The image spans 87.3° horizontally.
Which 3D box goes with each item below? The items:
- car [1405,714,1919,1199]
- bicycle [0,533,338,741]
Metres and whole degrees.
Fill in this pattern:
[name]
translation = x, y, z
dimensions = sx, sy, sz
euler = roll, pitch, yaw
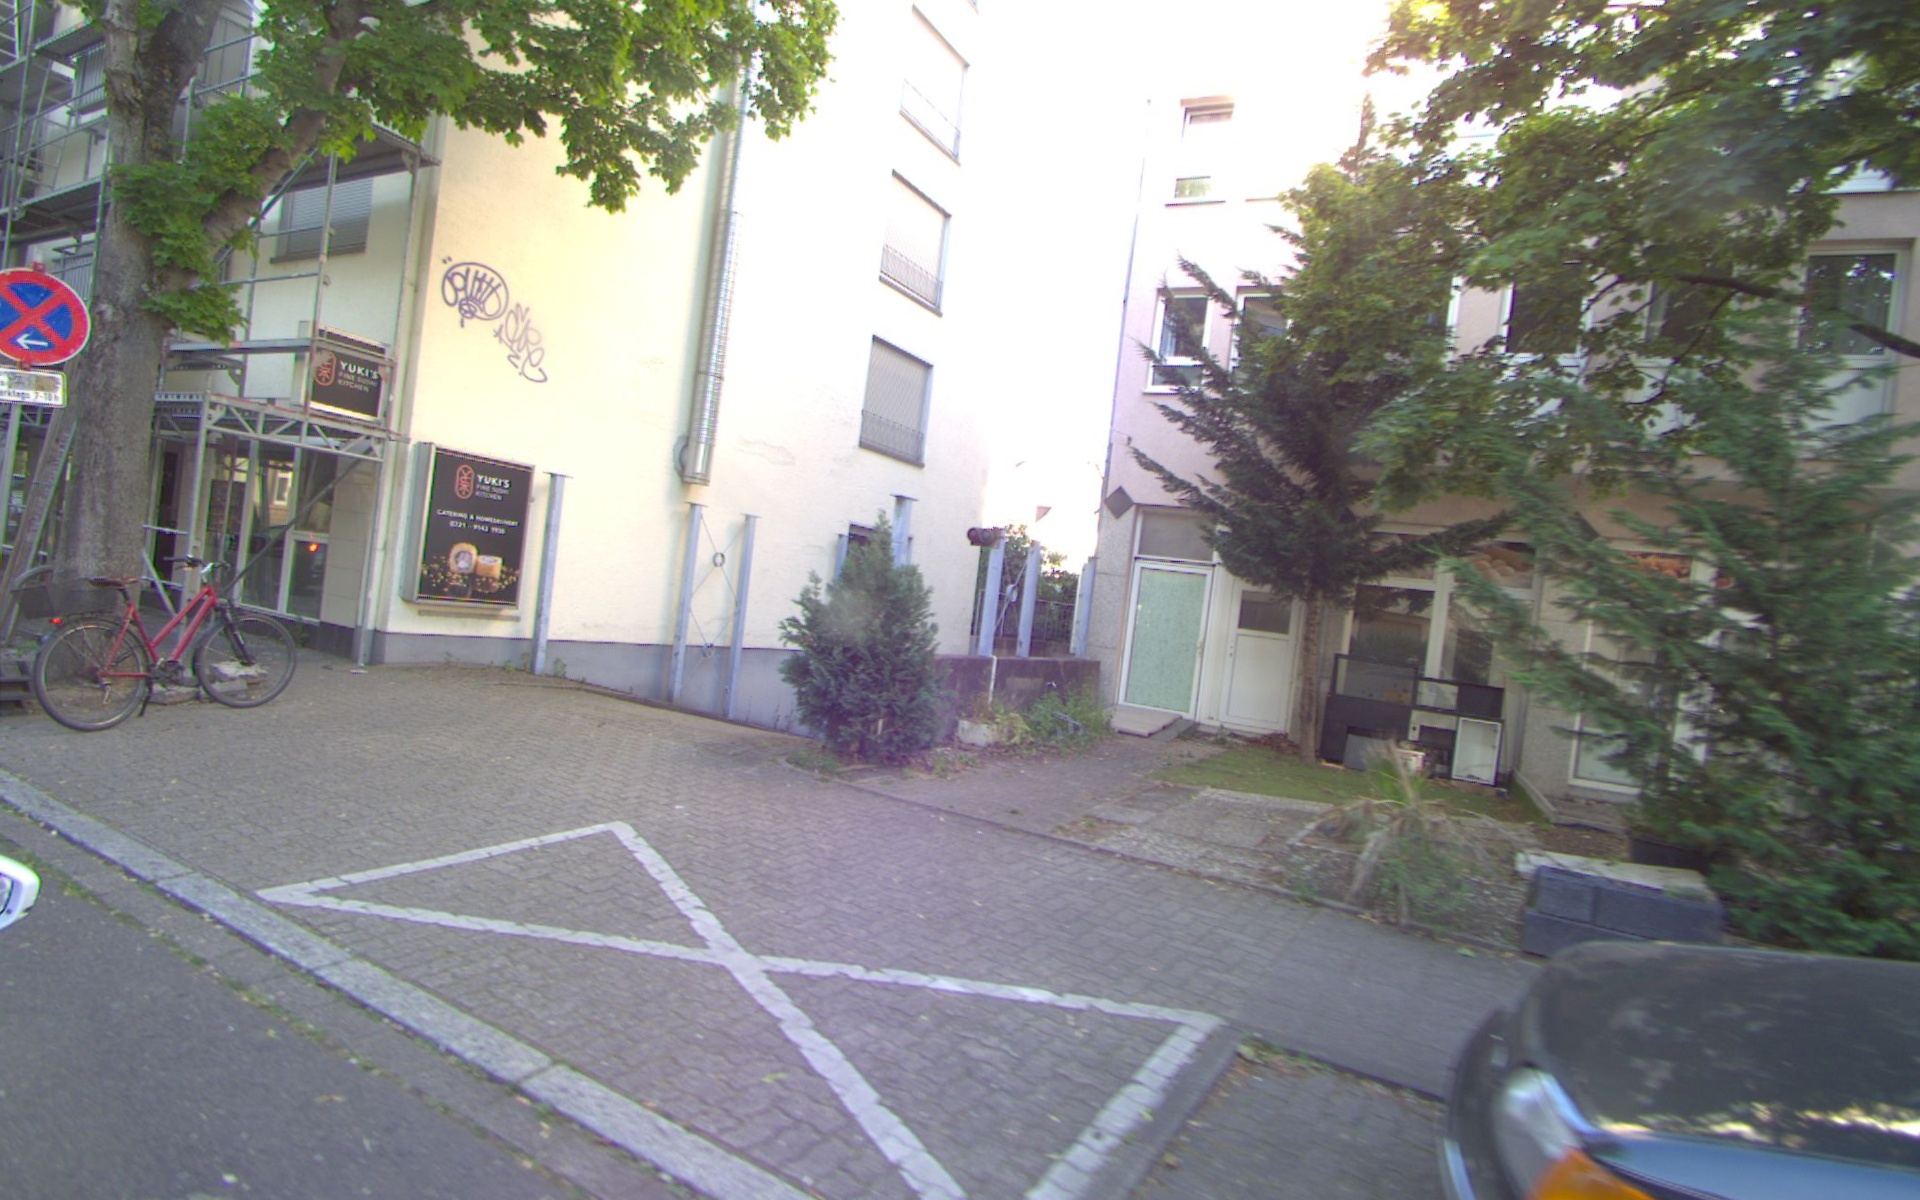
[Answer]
[car]
translation = 3.127, 1.223, 1.330
dimensions = 4.493, 1.405, 1.711
euler = 7, 0, 31
[bicycle]
translation = -5.523, 0.204, 7.053
dimensions = 0.713, 1.181, 1.985
euler = 7, 3, 13
